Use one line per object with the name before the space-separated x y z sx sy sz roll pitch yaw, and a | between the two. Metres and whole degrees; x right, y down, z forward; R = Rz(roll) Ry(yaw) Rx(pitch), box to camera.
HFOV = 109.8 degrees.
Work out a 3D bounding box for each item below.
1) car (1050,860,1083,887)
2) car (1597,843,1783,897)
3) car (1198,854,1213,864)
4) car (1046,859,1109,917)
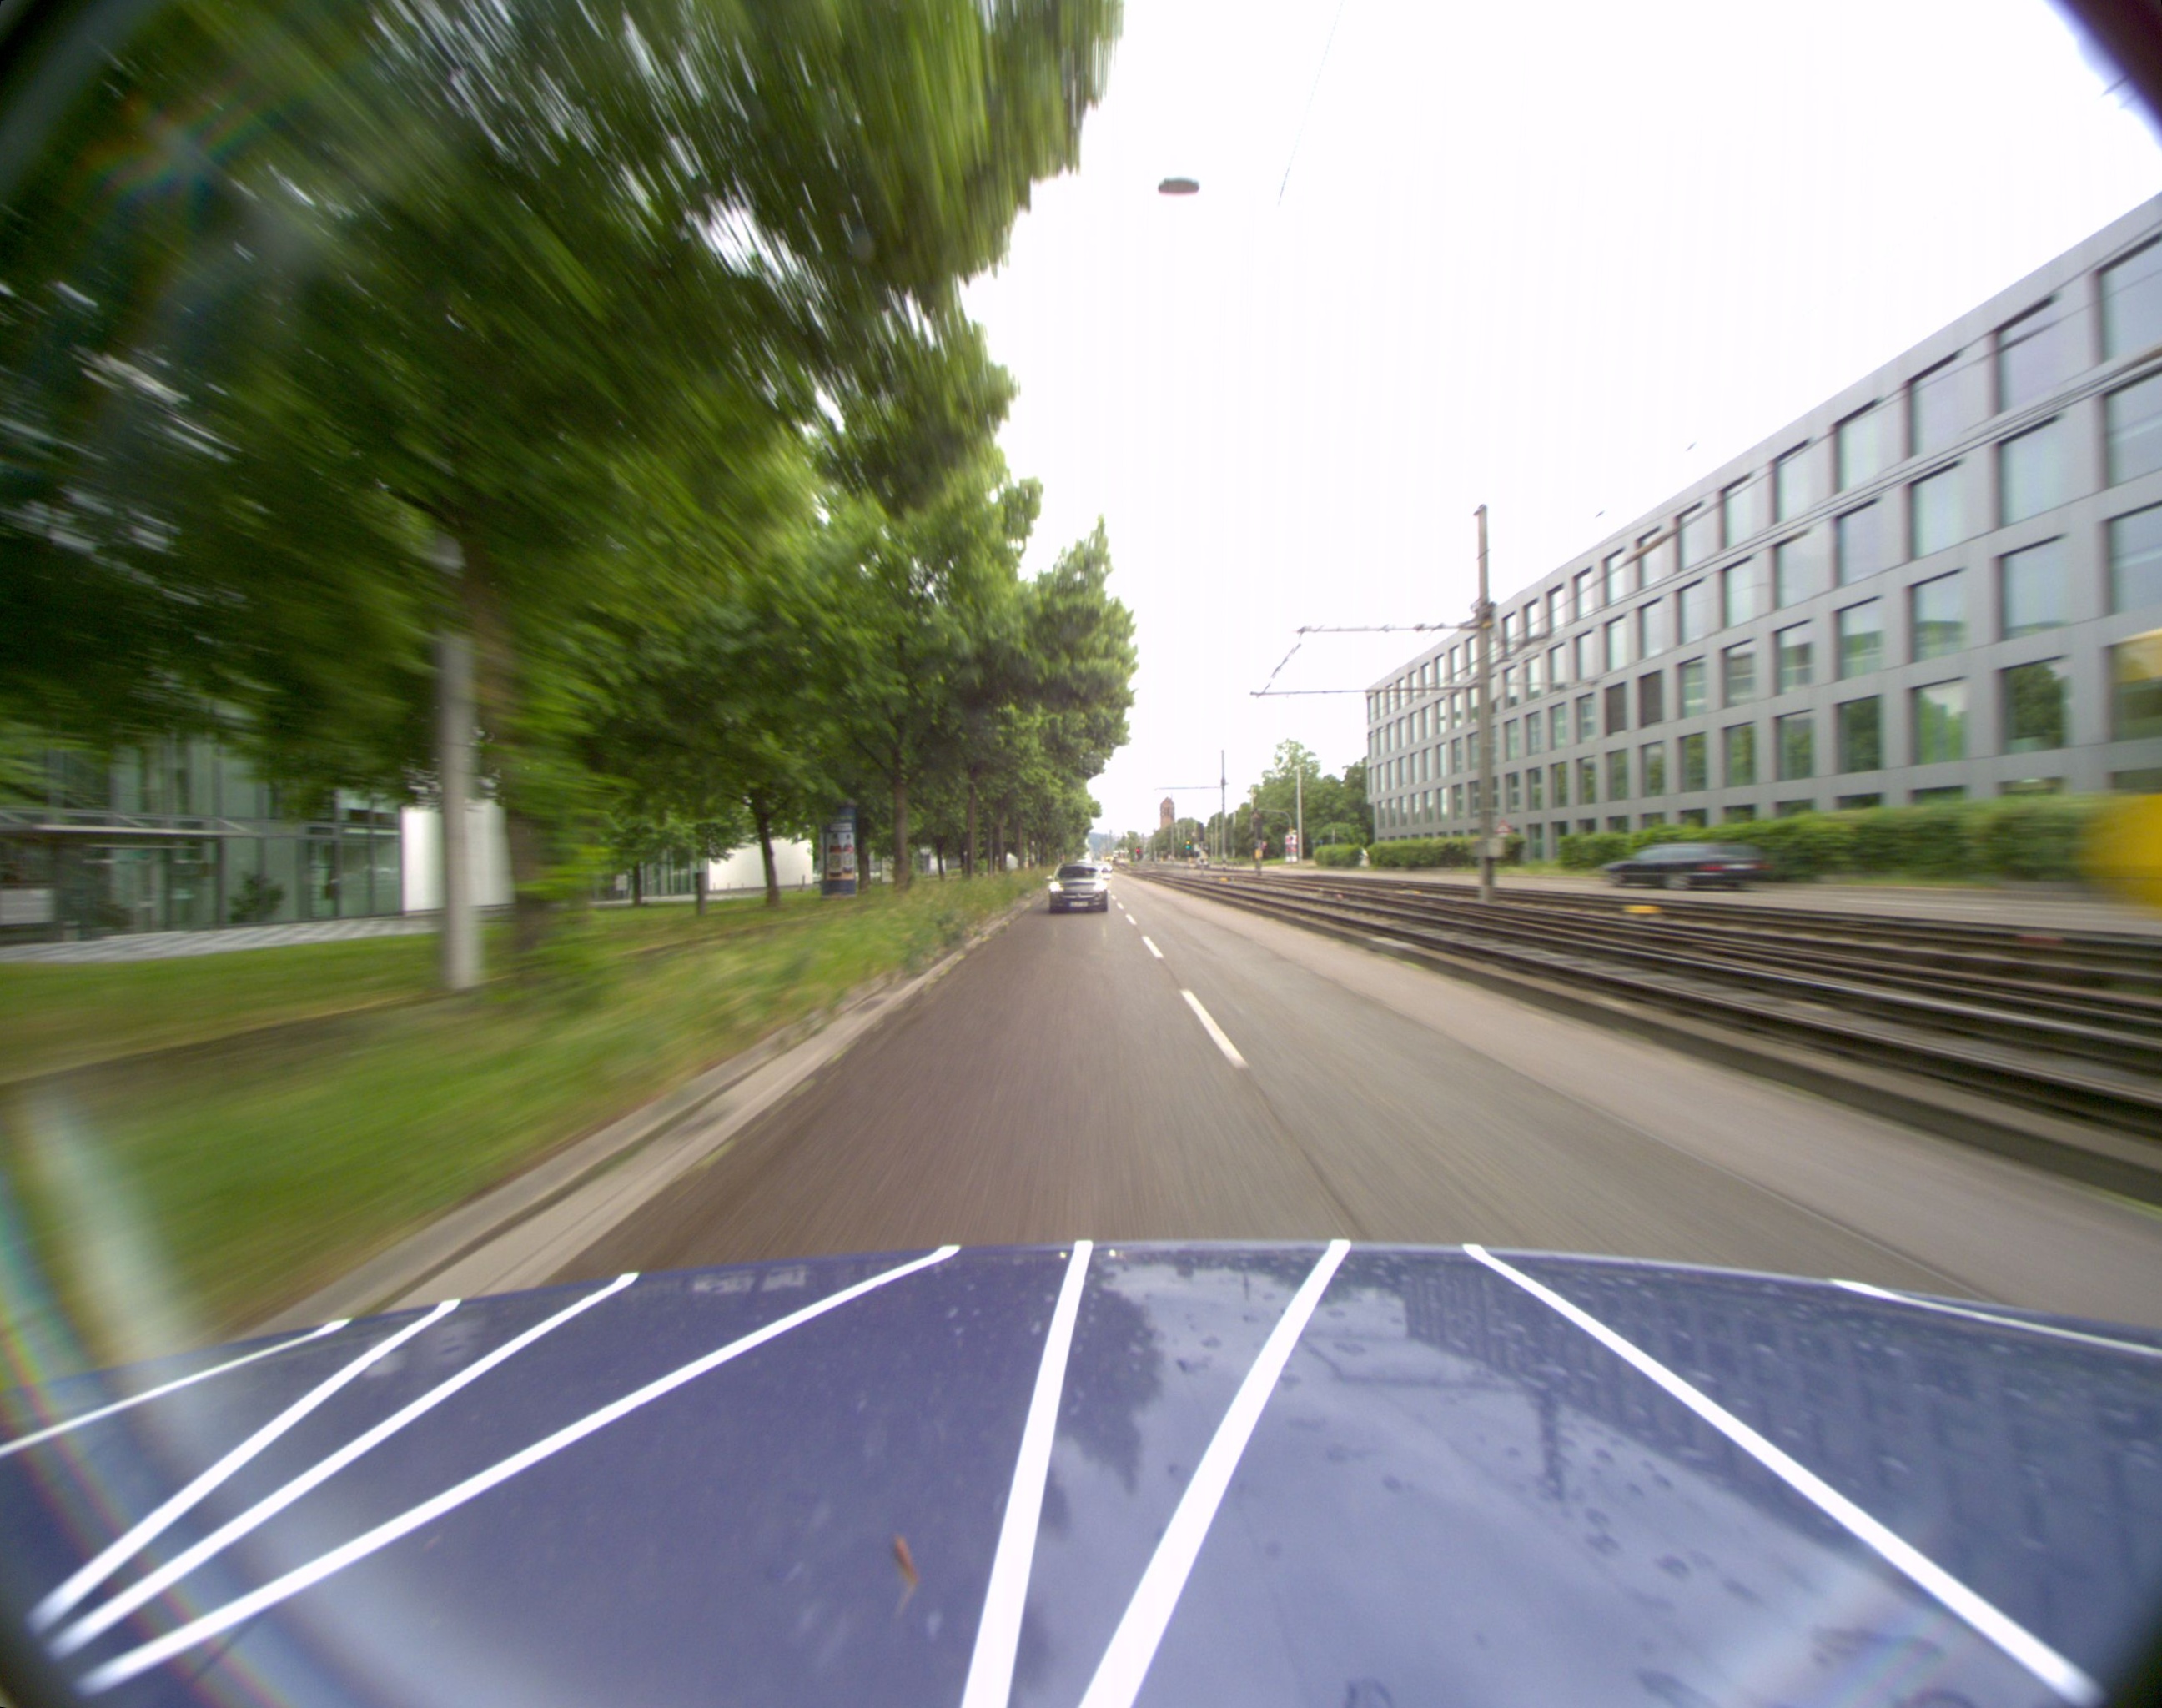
car | -0.825 1.109 45.172 1.770 1.439 3.833 -2 0 1
car | 18.773 0.433 23.805 1.910 1.443 4.923 -2 0 1
car | 19.865 0.796 121.028 1.812 1.627 3.564 -2 0 1
car | -0.032 0.971 23.498 1.698 1.439 4.420 -3 1 2
